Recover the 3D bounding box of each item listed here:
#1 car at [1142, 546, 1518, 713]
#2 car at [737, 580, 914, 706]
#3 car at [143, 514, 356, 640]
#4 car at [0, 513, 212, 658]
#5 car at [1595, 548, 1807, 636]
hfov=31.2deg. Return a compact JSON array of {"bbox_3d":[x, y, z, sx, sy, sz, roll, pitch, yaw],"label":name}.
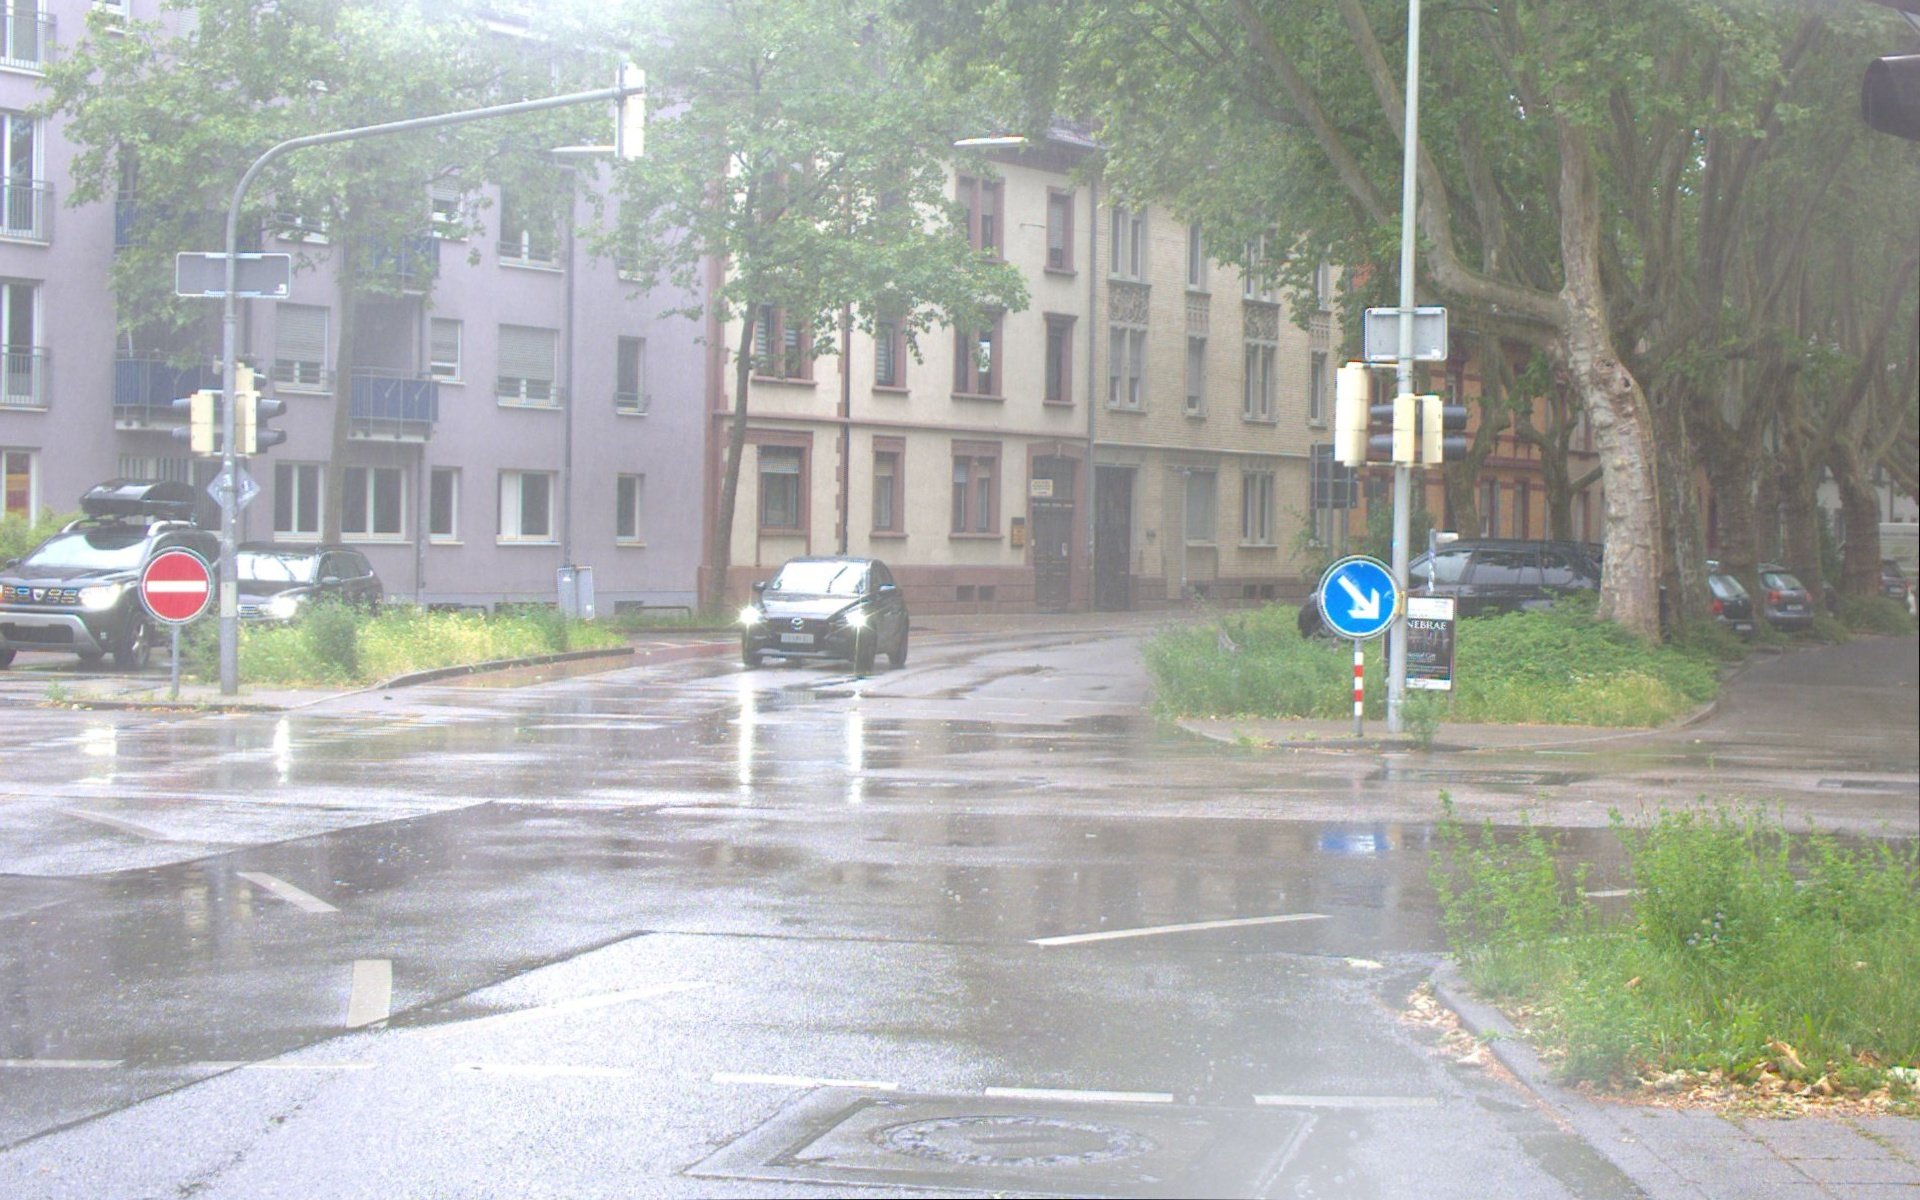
[{"bbox_3d":[3.559,0.271,32.904,3.480,1.518,1.519,-1,1,9],"label":"car"},{"bbox_3d":[-1.757,0.542,45.883,1.603,1.547,3.558,0,1,10],"label":"car"},{"bbox_3d":[-9.191,-0.328,44.745,1.725,1.547,3.559,-1,1,5],"label":"car"},{"bbox_3d":[-9.855,-0.189,38.814,1.725,1.547,3.559,-1,1,5],"label":"car"},{"bbox_3d":[14.076,-0.168,65.324,3.611,1.612,1.679,0,1,28],"label":"car"}]
